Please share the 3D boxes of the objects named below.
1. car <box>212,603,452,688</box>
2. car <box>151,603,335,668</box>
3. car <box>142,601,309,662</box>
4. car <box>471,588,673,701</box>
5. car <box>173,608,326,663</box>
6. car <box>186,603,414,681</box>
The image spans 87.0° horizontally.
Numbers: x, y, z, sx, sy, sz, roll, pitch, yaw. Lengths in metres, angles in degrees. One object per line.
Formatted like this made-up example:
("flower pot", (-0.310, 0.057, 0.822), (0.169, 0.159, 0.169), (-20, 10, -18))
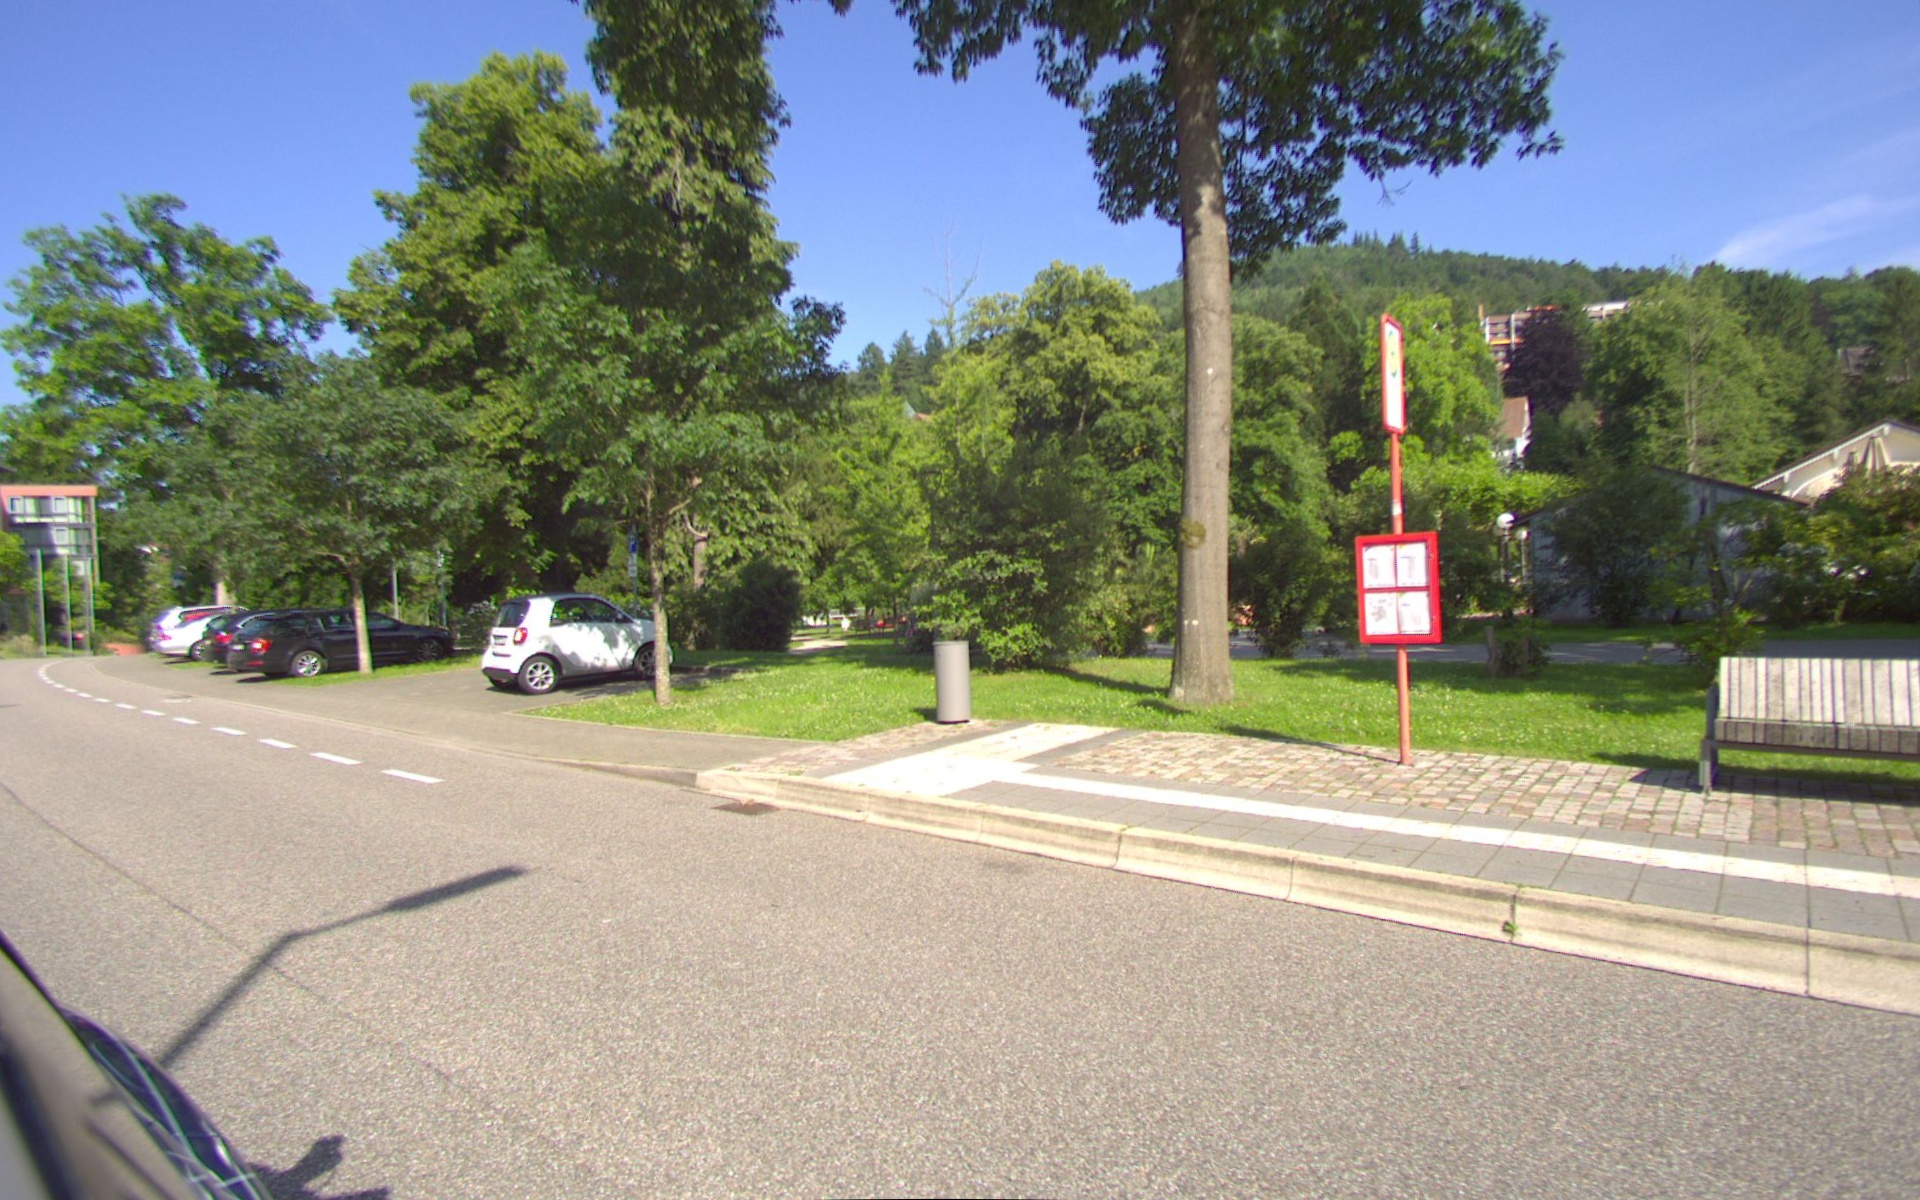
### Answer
("car", (-14.085, 0.960, 22.937), (1.709, 1.442, 4.240), (-2, 3, 35))
("car", (-22.072, 1.032, 31.279), (4.427, 1.427, 1.814), (-7, 5, -38))
("car", (-25.731, 1.056, 35.563), (1.810, 1.675, 4.434), (-1, 4, 43))
("car", (-6.425, 0.676, 16.826), (2.620, 1.558, 1.684), (-5, 3, -43))
("car", (-23.760, 1.136, 33.936), (3.940, 1.443, 1.722), (-5, 3, -43))
("car", (-16.542, 0.990, 25.562), (1.712, 1.521, 4.449), (-2, 2, 40))
